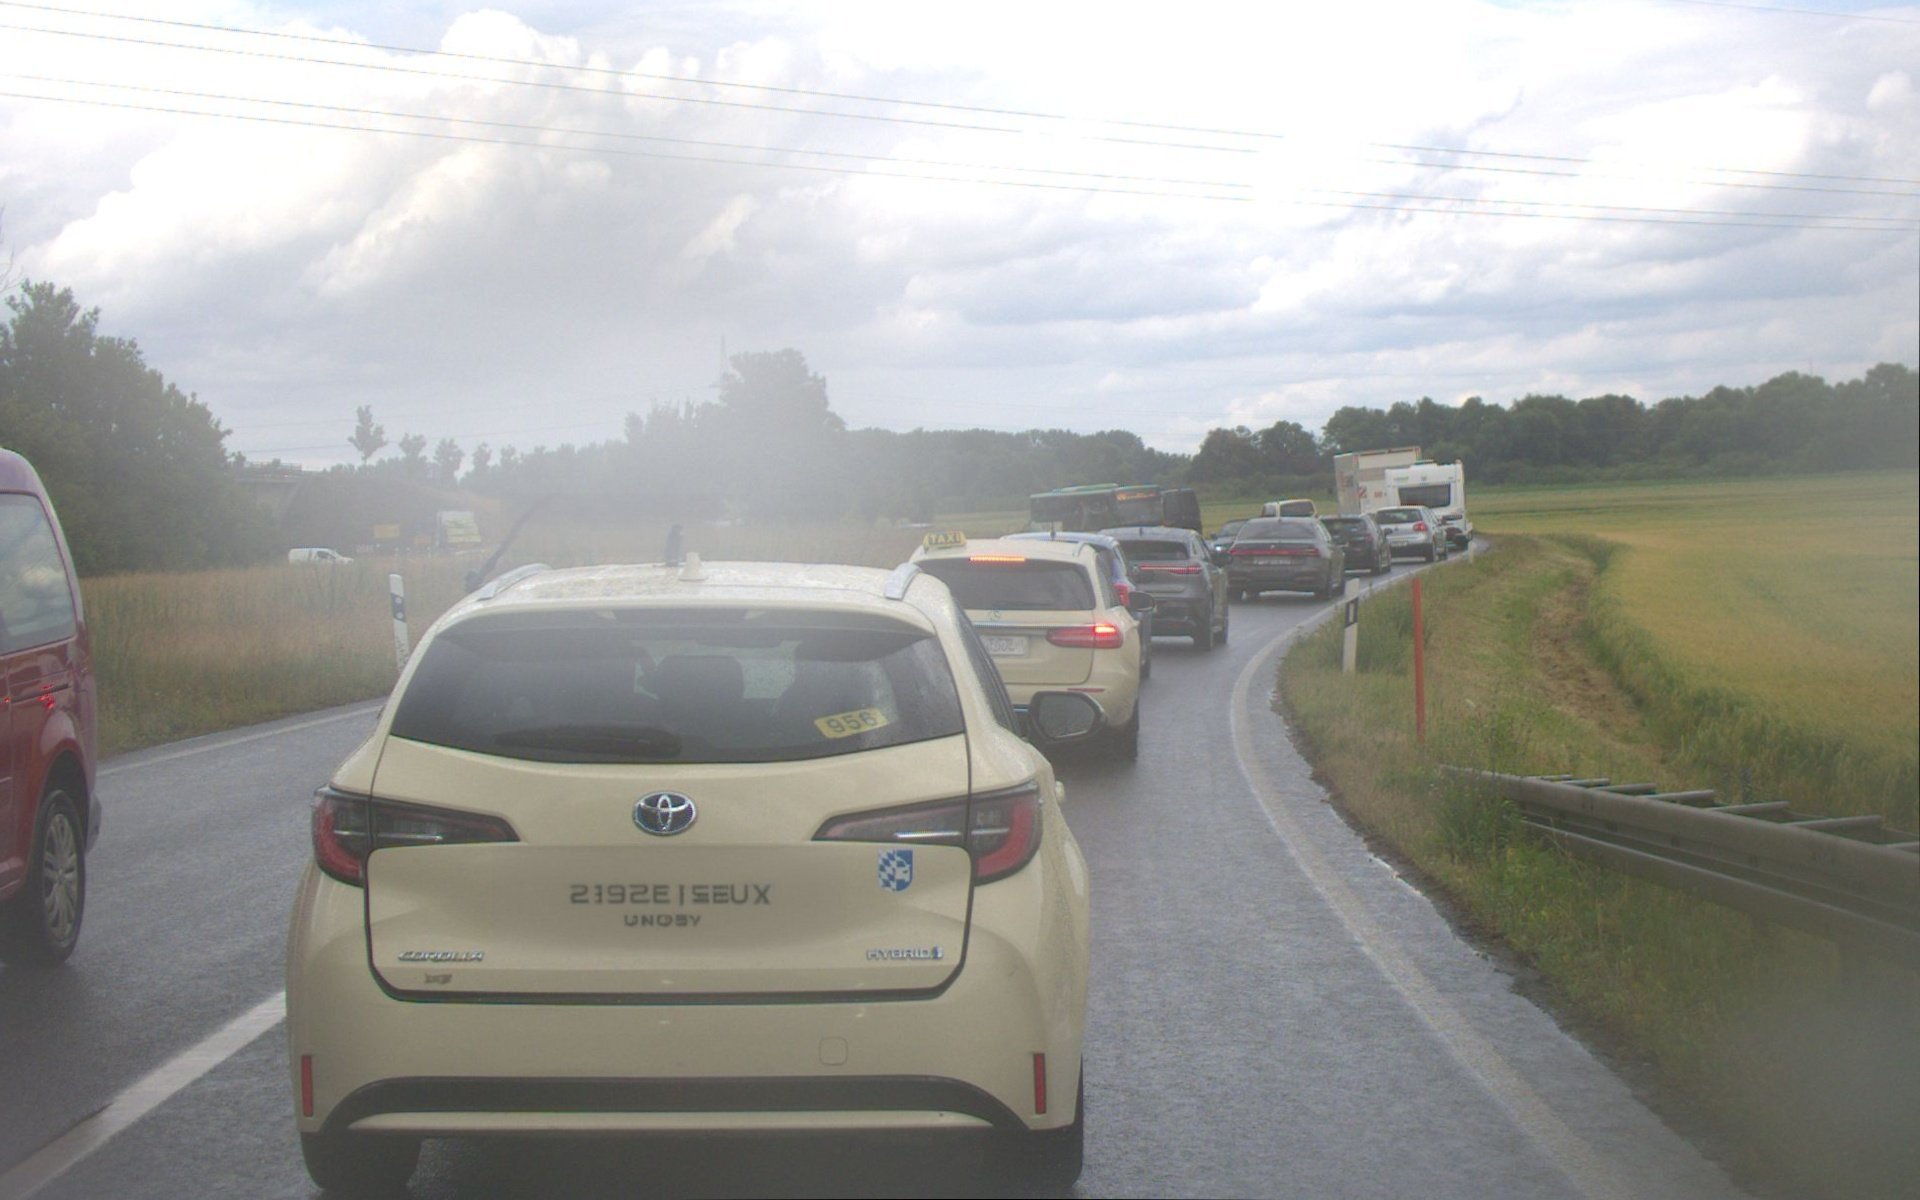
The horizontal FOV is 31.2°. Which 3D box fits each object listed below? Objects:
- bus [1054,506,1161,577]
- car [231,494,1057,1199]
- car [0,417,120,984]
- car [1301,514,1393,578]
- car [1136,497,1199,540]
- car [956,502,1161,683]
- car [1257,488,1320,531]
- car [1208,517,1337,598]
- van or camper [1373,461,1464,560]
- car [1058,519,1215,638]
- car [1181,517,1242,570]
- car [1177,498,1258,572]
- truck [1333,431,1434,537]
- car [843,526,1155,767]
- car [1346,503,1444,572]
[{"bbox_3d":[6.977,-2.857,164.814,2.757,3.286,12.506,0,2,-9],"label":"bus"},{"bbox_3d":[-0.688,0.562,8.648,1.612,1.557,3.739,1,0,-2],"label":"car"},{"bbox_3d":[-4.038,0.349,10.431,1.801,1.844,4.520,-1,1,1],"label":"car"},{"bbox_3d":[8.882,-1.217,78.762,1.826,1.408,3.737,1,0,10],"label":"car"},{"bbox_3d":[10.137,-3.969,168.009,1.739,2.007,4.149,0,0,-16],"label":"car"},{"bbox_3d":[1.018,-0.086,33.584,1.613,1.653,3.737,1,0,8],"label":"car"},{"bbox_3d":[14.402,-3.957,150.953,1.882,1.767,4.161,0,0,-7],"label":"car"},{"bbox_3d":[5.737,-0.758,62.713,1.961,1.408,4.390,1,0,10],"label":"car"},{"bbox_3d":[13.913,-2.714,103.983,2.537,2.886,6.741,0,2,9],"label":"van or camper"},{"bbox_3d":[2.234,-0.270,42.732,1.613,1.408,3.737,1,0,8],"label":"car"},{"bbox_3d":[9.755,-2.172,133.724,1.993,2.007,4.246,1,0,-1],"label":"car"},{"bbox_3d":[6.996,-1.737,93.185,1.907,1.941,4.141,1,0,8],"label":"car"},{"bbox_3d":[16.171,-4.373,131.660,3.127,3.839,7.386,1,0,2],"label":"truck"},{"bbox_3d":[0.372,0.244,24.058,1.841,1.487,4.607,0,2,5],"label":"car"},{"bbox_3d":[11.329,-1.609,89.367,1.961,1.723,3.735,1,0,16],"label":"car"}]
